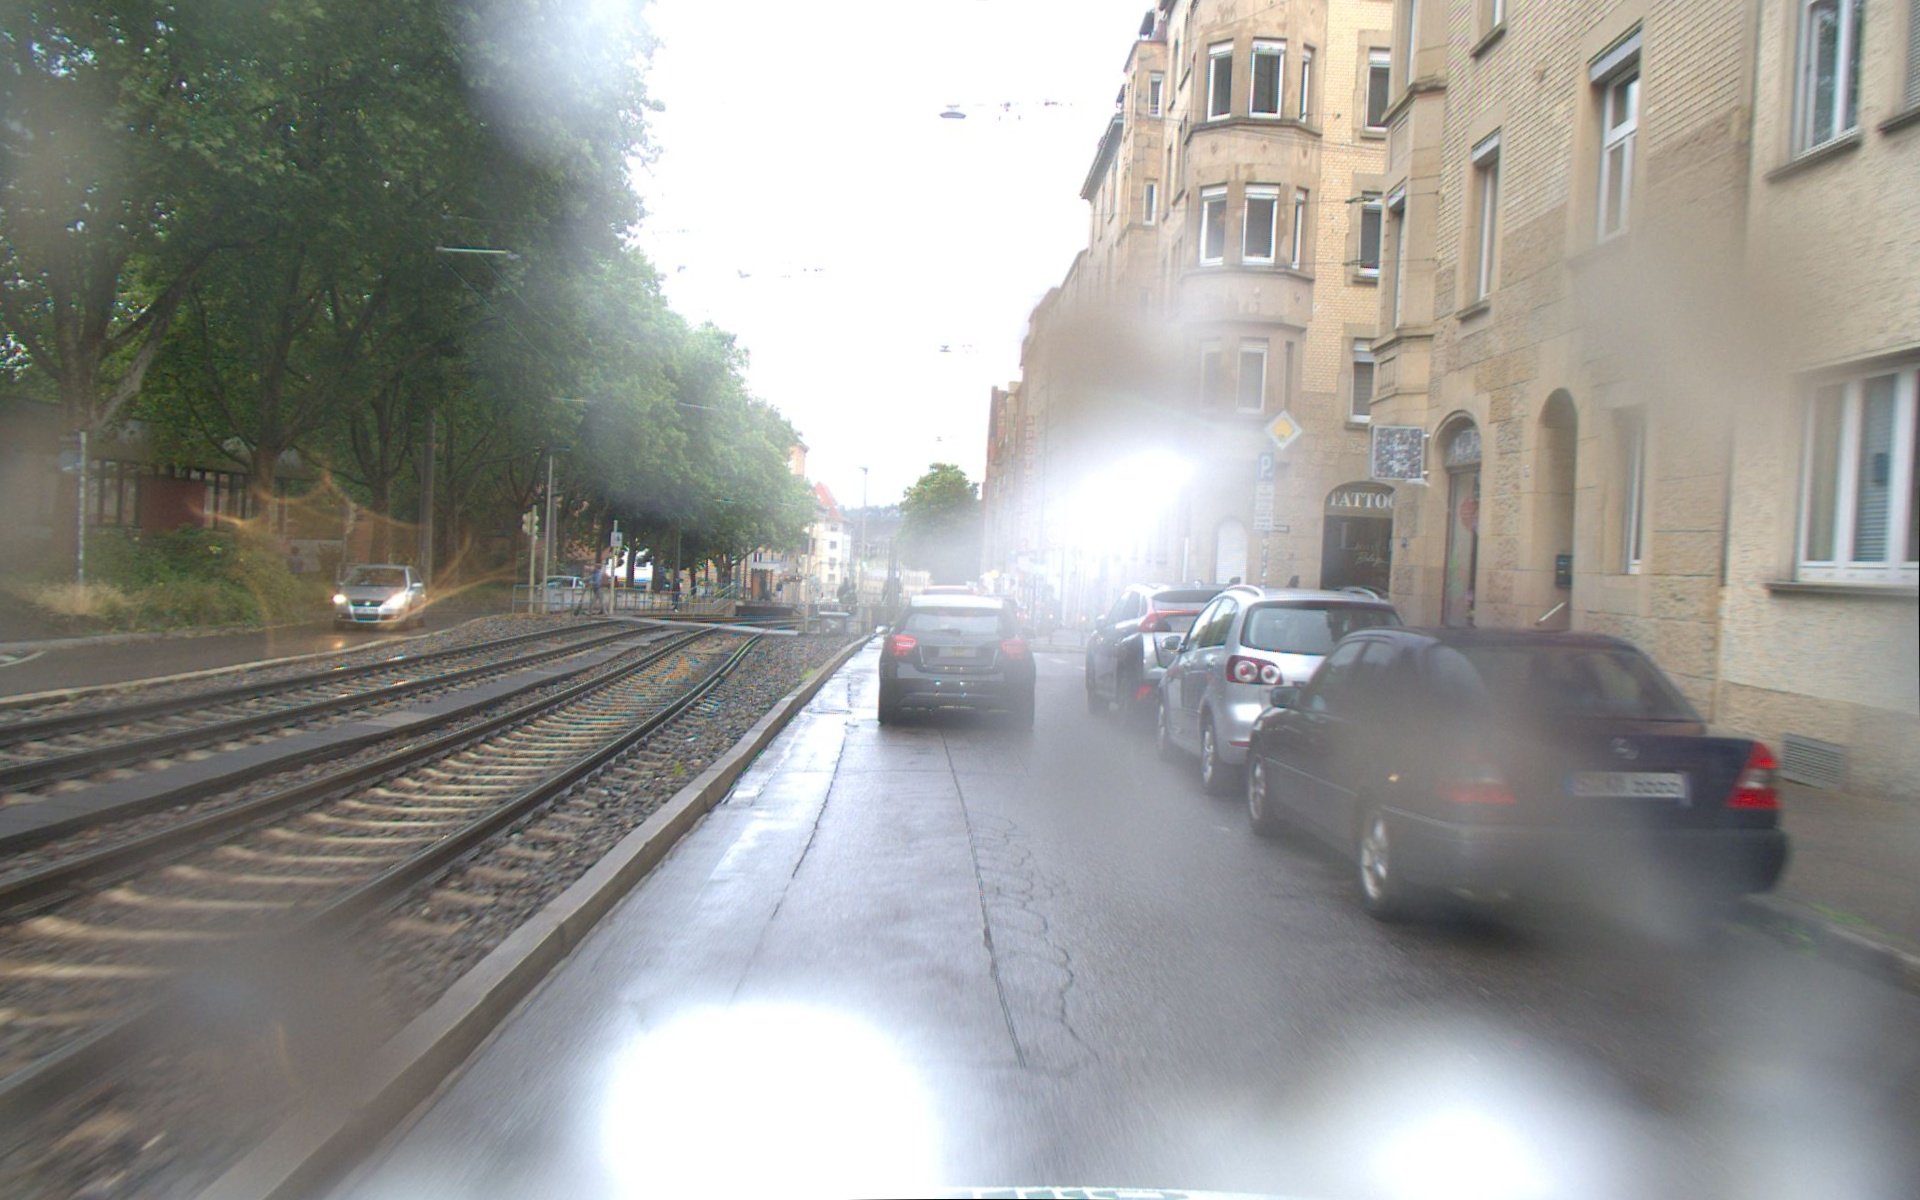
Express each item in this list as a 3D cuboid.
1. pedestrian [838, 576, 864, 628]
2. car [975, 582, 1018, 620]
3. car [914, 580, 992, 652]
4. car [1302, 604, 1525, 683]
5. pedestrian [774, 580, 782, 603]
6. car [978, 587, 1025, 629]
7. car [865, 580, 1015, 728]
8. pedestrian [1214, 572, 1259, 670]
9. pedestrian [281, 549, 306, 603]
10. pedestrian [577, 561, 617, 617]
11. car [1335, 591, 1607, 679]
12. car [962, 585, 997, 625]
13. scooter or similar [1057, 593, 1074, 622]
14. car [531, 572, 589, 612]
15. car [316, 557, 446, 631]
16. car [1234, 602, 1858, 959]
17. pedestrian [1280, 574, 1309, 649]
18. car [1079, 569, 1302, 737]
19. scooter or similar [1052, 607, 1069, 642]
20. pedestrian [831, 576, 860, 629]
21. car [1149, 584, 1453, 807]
[{"bbox_3d":[-3.508,0.054,53.119,0.789,1.662,0.892,0,1,-1],"label":"pedestrian"},{"bbox_3d":[1.578,0.037,73.015,1.724,1.606,3.999,0,1,-1],"label":"car"},{"bbox_3d":[-0.197,0.350,39.848,1.749,1.608,3.999,2,0,-1],"label":"car"},{"bbox_3d":[9.647,0.910,35.409,4.247,1.558,1.892,1,0,0],"label":"car"},{"bbox_3d":[-13.974,-0.630,126.953,0.508,1.747,0.551,3,0,-1],"label":"pedestrian"},{"bbox_3d":[1.672,0.301,68.435,1.790,1.646,3.863,0,1,-1],"label":"car"},{"bbox_3d":[-0.258,0.561,19.333,1.548,1.531,3.573,2,0,-2],"label":"car"},{"bbox_3d":[5.172,0.388,30.968,0.680,1.818,0.758,0,0,-2],"label":"pedestrian"},{"bbox_3d":[-21.150,-0.773,52.495,0.682,1.691,0.638,1,0,-20],"label":"pedestrian"},{"bbox_3d":[-11.711,-0.351,53.410,1.033,1.748,0.904,2,0,0],"label":"pedestrian"},{"bbox_3d":[9.131,0.602,29.814,4.358,1.510,1.864,0,1,2],"label":"car"},{"bbox_3d":[1.017,0.226,88.155,1.724,2.049,3.999,0,1,-1],"label":"car"},{"bbox_3d":[5.030,0.339,79.101,0.440,1.344,1.774,0,1,-8],"label":"scooter or similar"},{"bbox_3d":[-16.216,-0.337,67.137,1.625,1.523,3.783,2,1,-4],"label":"car"},{"bbox_3d":[-13.168,-0.154,37.875,1.782,1.531,4.627,2,0,-7],"label":"car"},{"bbox_3d":[2.801,0.750,9.071,1.683,1.370,4.460,2,0,-2],"label":"car"},{"bbox_3d":[7.742,0.255,38.277,0.536,1.717,0.627,1,0,3],"label":"pedestrian"},{"bbox_3d":[2.579,0.538,19.526,1.731,1.697,4.330,2,0,-3],"label":"car"},{"bbox_3d":[3.922,0.947,64.480,0.439,1.344,1.776,0,1,-4],"label":"scooter or similar"},{"bbox_3d":[-4.422,0.091,63.841,1.115,2.033,1.171,0,1,-5],"label":"pedestrian"},{"bbox_3d":[2.697,0.675,13.969,1.659,1.556,3.999,2,0,-1],"label":"car"}]
